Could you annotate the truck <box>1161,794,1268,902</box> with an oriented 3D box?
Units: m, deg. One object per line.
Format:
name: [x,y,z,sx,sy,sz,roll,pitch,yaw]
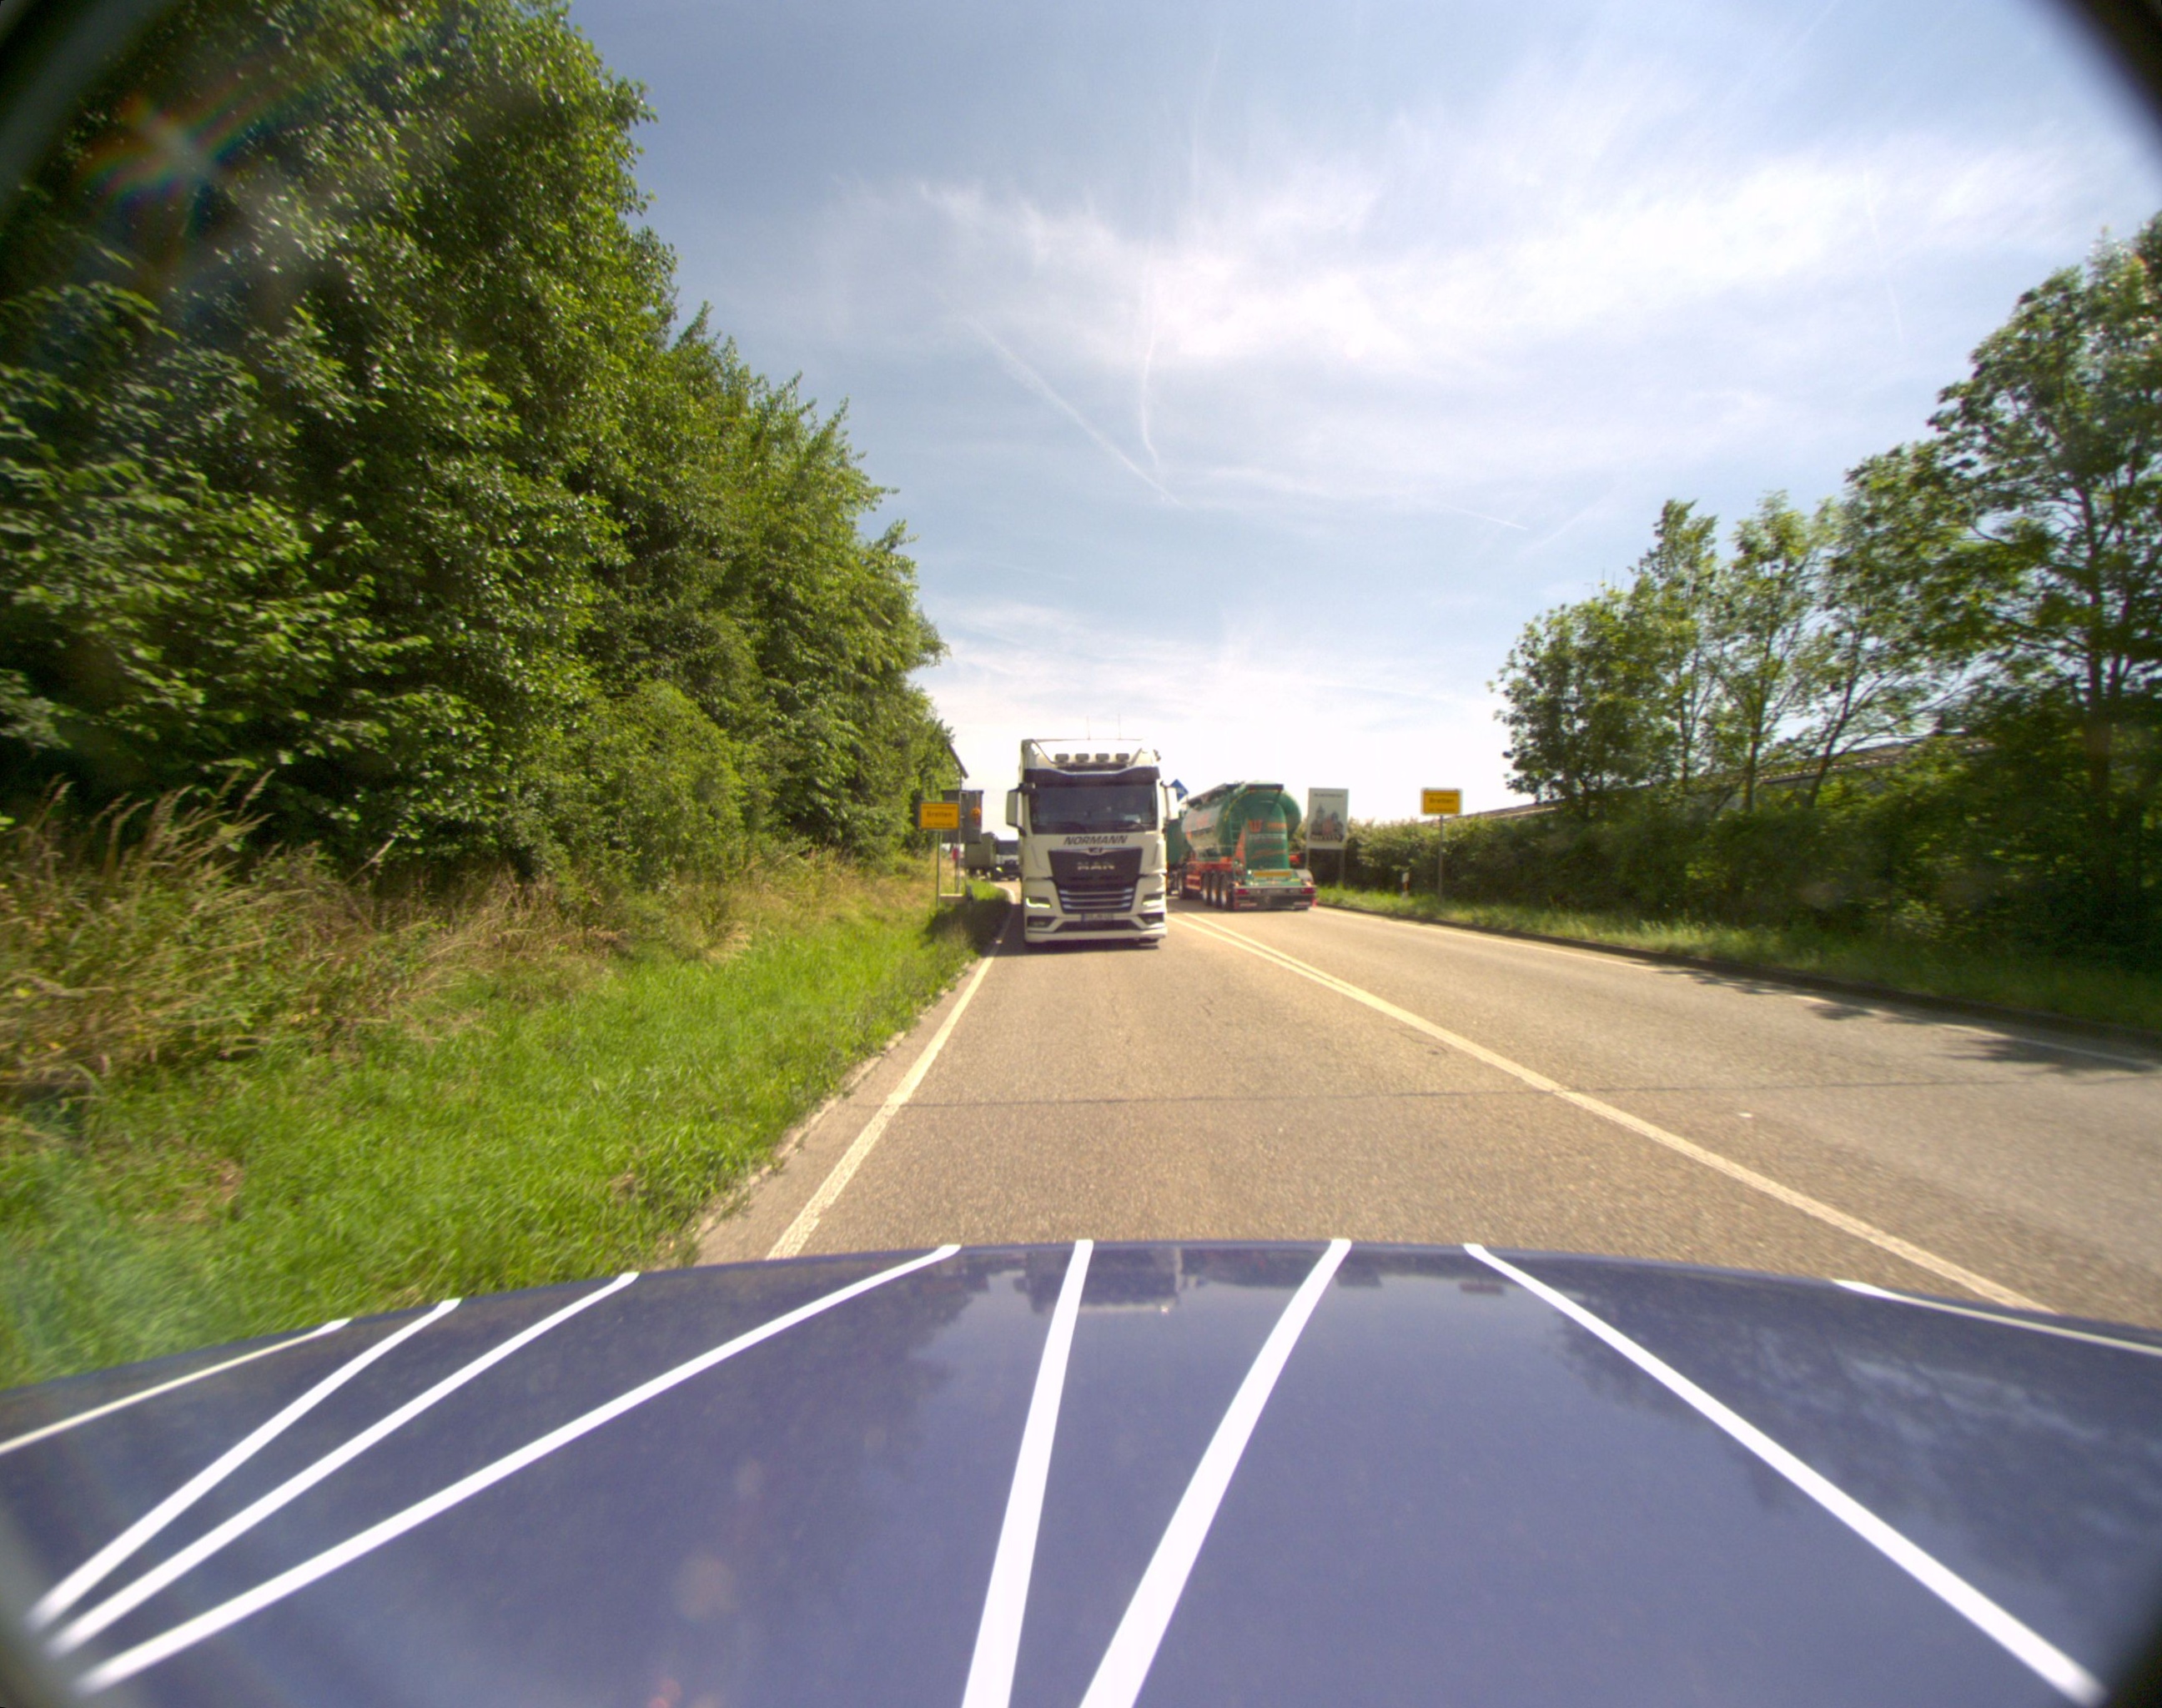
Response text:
truck: [5.006,-0.181,30.030,2.585,3.658,7.875,-1,0,-1]

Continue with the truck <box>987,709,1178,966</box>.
truck: [-0.379,-0.383,21.075,2.981,4.070,17.627,-1,1,-3]

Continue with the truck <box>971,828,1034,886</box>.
truck: [-7.235,0.162,66.996,2.984,4.446,16.430,-2,1,-14]

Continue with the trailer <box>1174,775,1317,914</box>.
trailer: [5.098,-0.215,25.475,2.584,3.796,8.914,-1,0,-1]
